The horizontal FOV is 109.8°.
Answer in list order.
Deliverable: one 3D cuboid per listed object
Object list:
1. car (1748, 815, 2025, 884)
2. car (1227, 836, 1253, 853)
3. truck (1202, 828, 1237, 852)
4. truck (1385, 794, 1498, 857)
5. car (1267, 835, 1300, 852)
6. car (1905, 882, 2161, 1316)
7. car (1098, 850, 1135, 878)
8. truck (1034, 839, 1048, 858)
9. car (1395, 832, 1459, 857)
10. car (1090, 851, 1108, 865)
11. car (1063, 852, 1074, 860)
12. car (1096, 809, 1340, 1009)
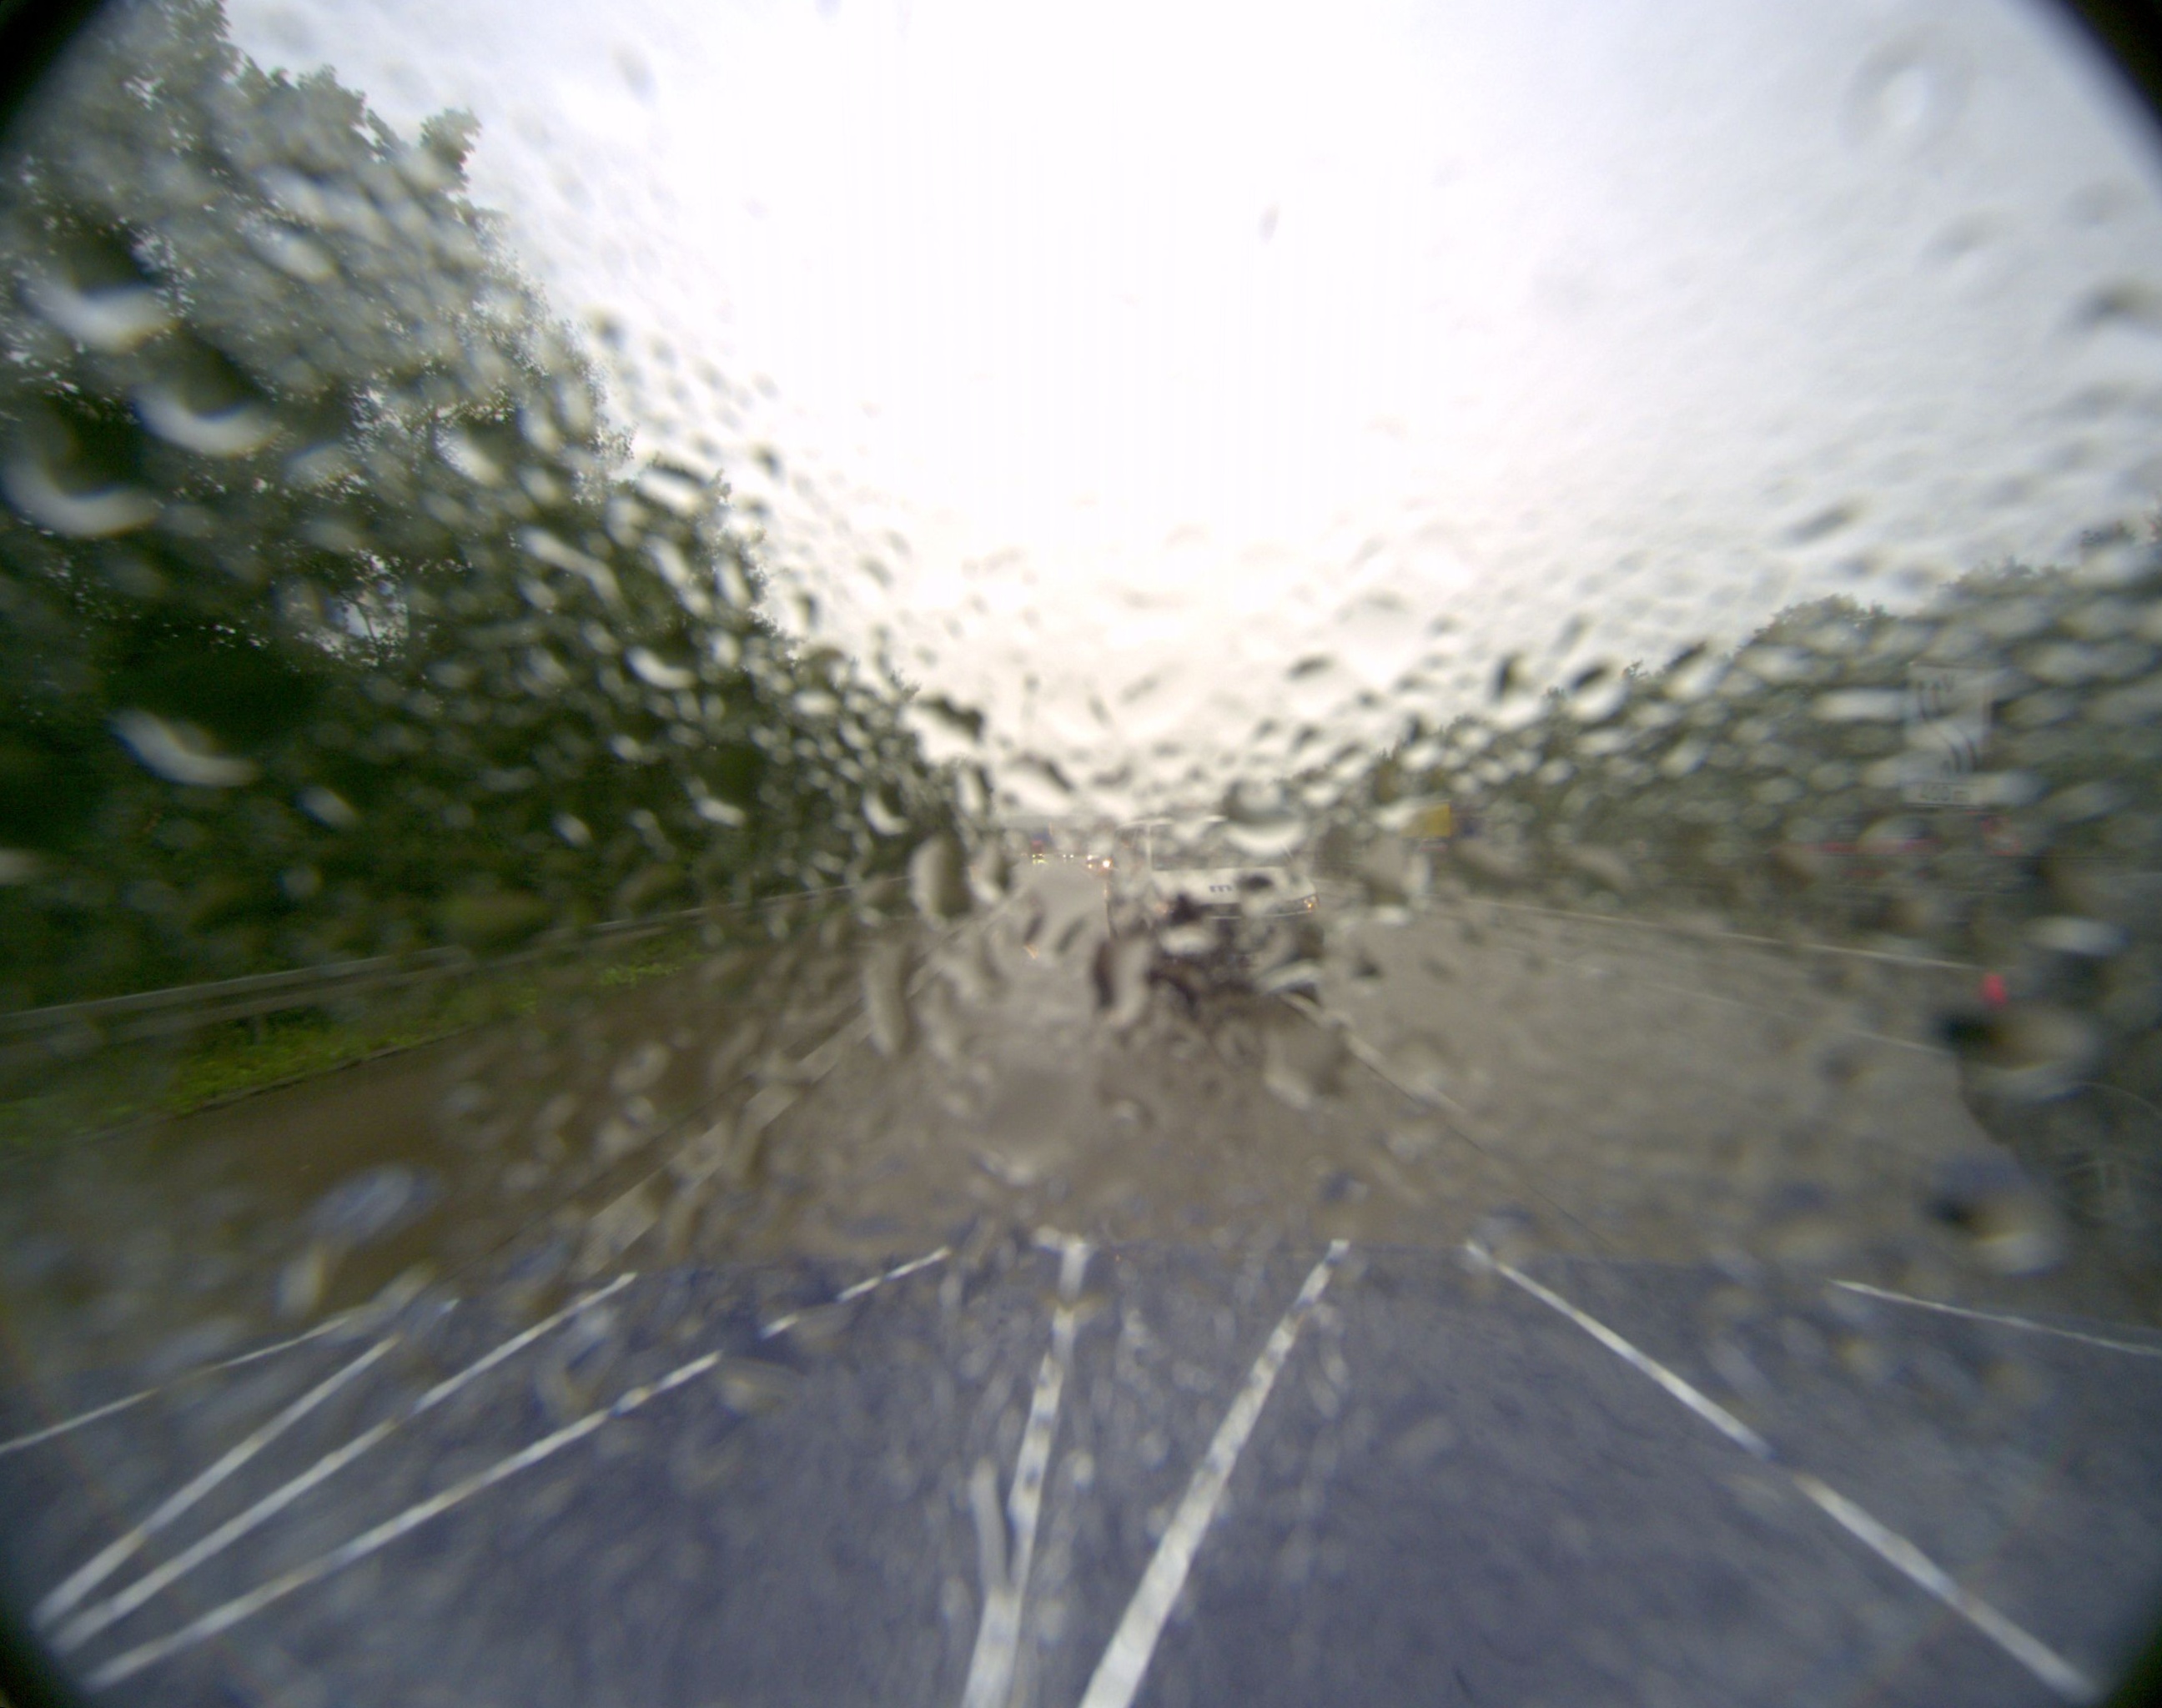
[{"bbox_3d":[20.970,-0.122,20.228,1.757,1.523,5.270,-3,0,0],"label":"car"},{"bbox_3d":[19.427,-1.161,93.053,1.982,2.002,5.197,-3,1,-1],"label":"car"},{"bbox_3d":[20.785,-2.024,114.622,2.781,3.296,11.512,-3,0,-2],"label":"truck"},{"bbox_3d":[23.645,-1.742,50.585,2.591,3.679,9.798,-3,0,-1],"label":"truck"},{"bbox_3d":[19.967,-1.043,74.955,1.921,1.475,4.472,-3,1,-1],"label":"car"},{"bbox_3d":[4.462,0.844,1.117,1.745,1.380,4.320,-1,1,-1],"label":"car"},{"bbox_3d":[1.950,0.515,42.746,1.934,1.426,4.518,0,1,1],"label":"car"},{"bbox_3d":[-9.231,-1.092,174.353,3.059,3.994,10.040,1,-2,-4],"label":"truck"},{"bbox_3d":[20.526,-0.532,45.257,1.757,1.331,4.424,-3,0,0],"label":"car"},{"bbox_3d":[1.962,0.440,85.263,1.934,1.426,4.517,0,1,0],"label":"car"},{"bbox_3d":[-2.387,0.369,148.783,1.934,1.426,4.518,0,1,1],"label":"car"},{"bbox_3d":[1.425,0.530,10.068,1.905,1.883,5.040,-3,0,-4],"label":"car"}]
